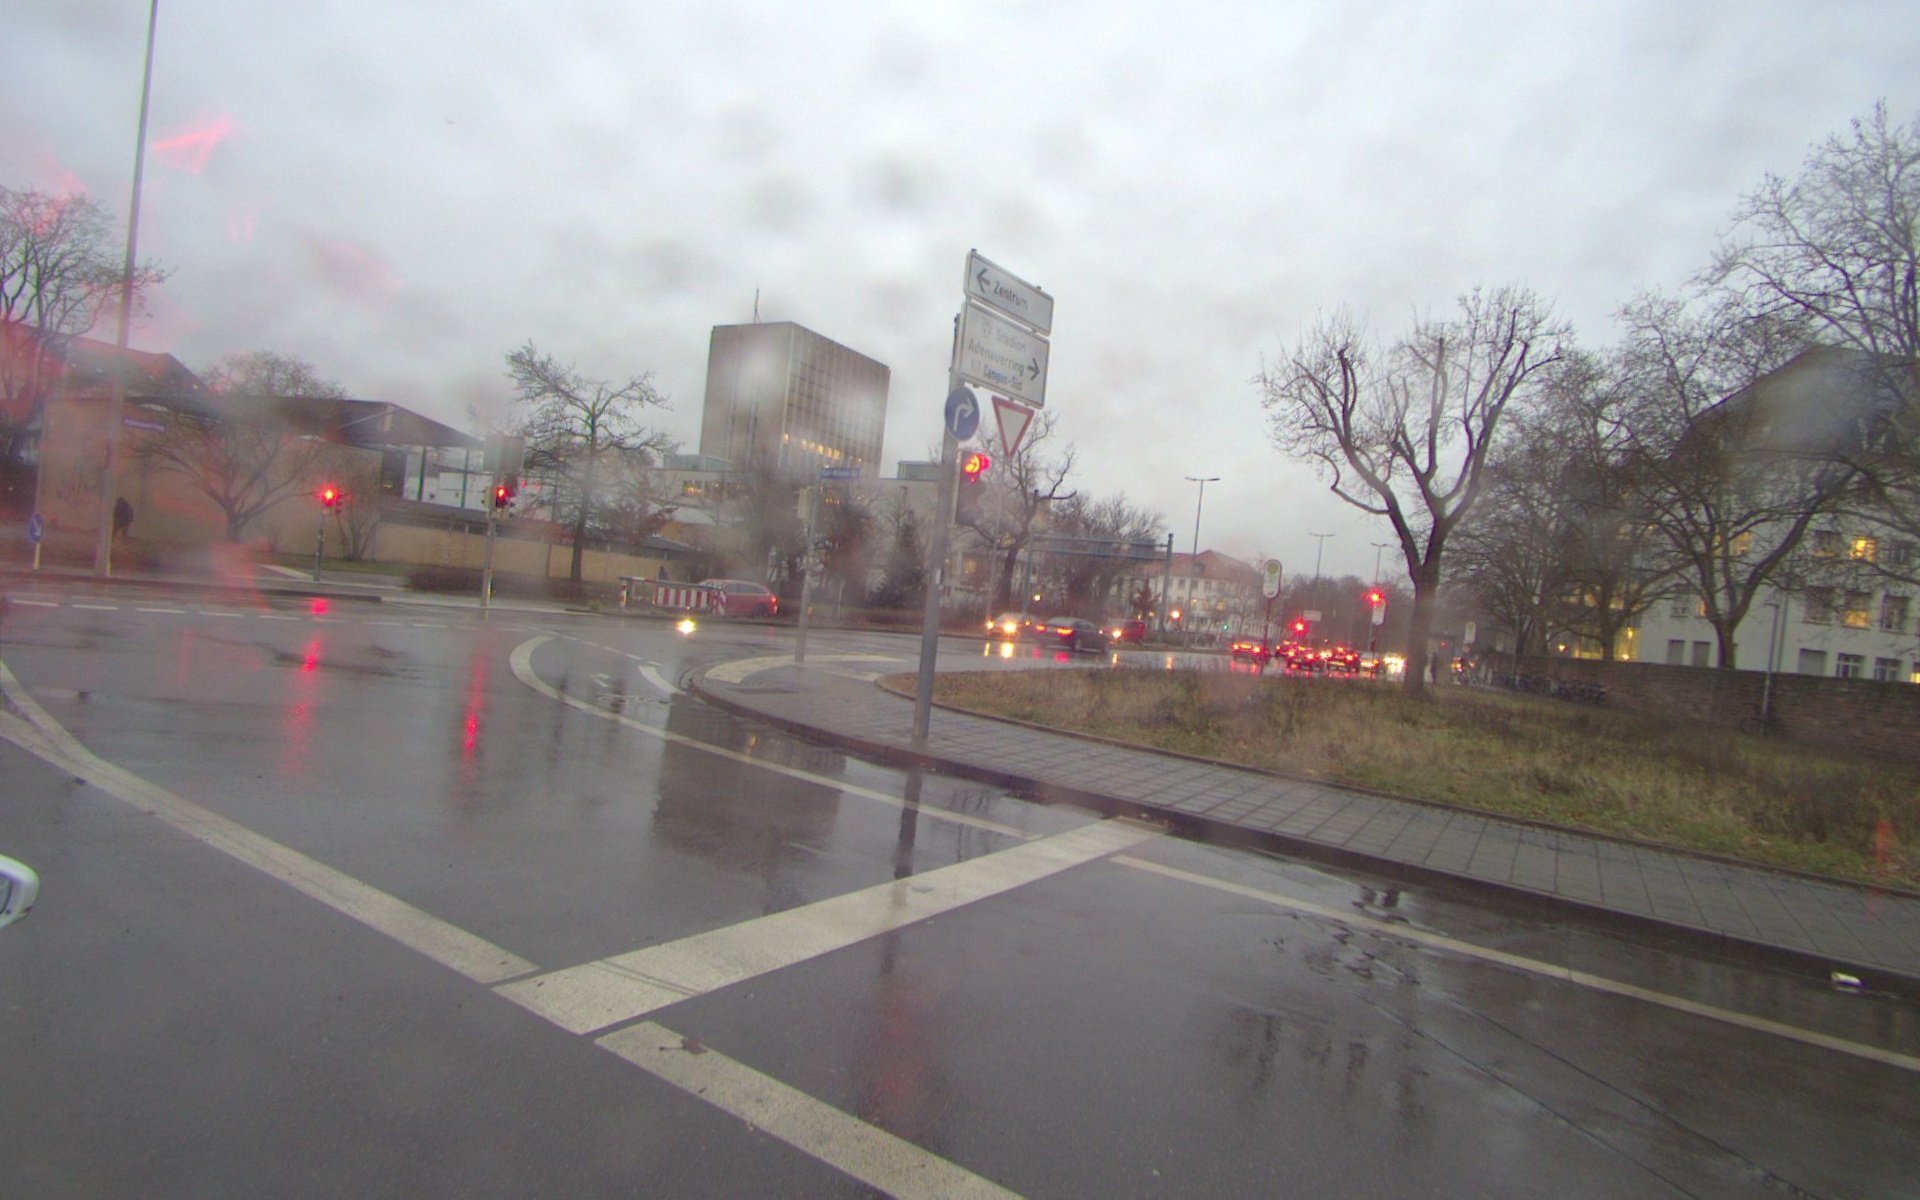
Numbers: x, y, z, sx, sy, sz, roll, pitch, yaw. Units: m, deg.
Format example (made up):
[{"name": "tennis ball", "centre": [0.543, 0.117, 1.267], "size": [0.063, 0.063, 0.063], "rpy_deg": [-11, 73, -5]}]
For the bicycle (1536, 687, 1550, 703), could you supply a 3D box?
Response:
[{"name": "bicycle", "centre": [32.416, 5.290, 55.951], "size": [0.387, 0.795, 1.607], "rpy_deg": [7, -2, 22]}]

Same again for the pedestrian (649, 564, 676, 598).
[{"name": "pedestrian", "centre": [-15.562, -0.981, 52.619], "size": [0.783, 1.624, 0.960], "rpy_deg": [8, 2, 39]}]

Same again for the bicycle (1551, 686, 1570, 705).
[{"name": "bicycle", "centre": [31.360, 4.979, 52.555], "size": [0.387, 0.868, 1.532], "rpy_deg": [7, -2, 15]}]

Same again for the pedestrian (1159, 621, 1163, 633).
[{"name": "pedestrian", "centre": [21.642, 2.904, 108.230], "size": [0.258, 1.364, 0.289], "rpy_deg": [7, 2, 31]}]

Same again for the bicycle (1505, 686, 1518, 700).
[{"name": "bicycle", "centre": [34.853, 5.865, 63.624], "size": [0.387, 0.795, 1.532], "rpy_deg": [7, -2, 20]}]

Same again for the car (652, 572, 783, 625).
[{"name": "car", "centre": [-8.657, -0.029, 36.275], "size": [1.784, 1.496, 4.411], "rpy_deg": [6, 0, 37]}]

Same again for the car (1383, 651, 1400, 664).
[{"name": "car", "centre": [66.980, 8.944, 156.197], "size": [1.965, 1.783, 3.993], "rpy_deg": [7, 1, 27]}]

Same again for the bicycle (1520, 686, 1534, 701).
[{"name": "bicycle", "centre": [33.326, 5.486, 59.143], "size": [0.387, 0.795, 1.532], "rpy_deg": [7, -2, 20]}]

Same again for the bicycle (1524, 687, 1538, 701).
[{"name": "bicycle", "centre": [32.844, 5.403, 57.864], "size": [0.387, 0.795, 1.532], "rpy_deg": [7, -2, 19]}]

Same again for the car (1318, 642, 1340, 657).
[{"name": "car", "centre": [49.345, 6.619, 134.368], "size": [1.966, 1.783, 3.992], "rpy_deg": [7, 1, 29]}]

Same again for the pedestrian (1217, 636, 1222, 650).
[{"name": "pedestrian", "centre": [32.519, 5.398, 126.132], "size": [0.404, 1.713, 0.427], "rpy_deg": [7, 2, 28]}]

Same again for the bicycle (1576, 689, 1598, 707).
[{"name": "bicycle", "centre": [30.552, 4.769, 48.998], "size": [0.387, 0.795, 1.533], "rpy_deg": [7, -2, 14]}]

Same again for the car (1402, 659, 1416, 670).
[{"name": "car", "centre": [81.666, 11.703, 182.924], "size": [1.834, 1.783, 3.993], "rpy_deg": [7, 1, 27]}]

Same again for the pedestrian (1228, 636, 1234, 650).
[{"name": "pedestrian", "centre": [33.822, 5.363, 125.611], "size": [0.404, 1.713, 0.427], "rpy_deg": [7, 2, 28]}]

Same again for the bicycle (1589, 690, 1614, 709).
[{"name": "bicycle", "centre": [30.278, 4.672, 47.474], "size": [0.352, 0.795, 1.415], "rpy_deg": [7, -2, 8]}]

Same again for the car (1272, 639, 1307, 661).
[{"name": "car", "centre": [28.145, 4.261, 85.895], "size": [1.811, 1.602, 4.127], "rpy_deg": [6, 0, 31]}]

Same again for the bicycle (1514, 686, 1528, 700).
[{"name": "bicycle", "centre": [33.832, 5.613, 60.662], "size": [0.387, 0.795, 1.532], "rpy_deg": [7, -2, 20]}]

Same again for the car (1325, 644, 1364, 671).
[{"name": "car", "centre": [29.579, 4.434, 77.270], "size": [1.812, 1.710, 4.312], "rpy_deg": [6, -1, 33]}]

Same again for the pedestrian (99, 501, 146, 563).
[{"name": "pedestrian", "centre": [-30.706, -2.481, 36.892], "size": [0.879, 2.141, 0.885], "rpy_deg": [7, 2, 22]}]

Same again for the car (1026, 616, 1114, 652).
[{"name": "car", "centre": [5.131, 1.595, 46.357], "size": [1.908, 1.318, 4.684], "rpy_deg": [6, 0, 35]}]

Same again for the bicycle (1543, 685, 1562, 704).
[{"name": "bicycle", "centre": [31.845, 5.074, 54.085], "size": [0.387, 0.927, 1.532], "rpy_deg": [7, -2, 15]}]

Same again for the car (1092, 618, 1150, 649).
[{"name": "car", "centre": [12.050, 2.504, 74.926], "size": [2.016, 1.903, 5.320], "rpy_deg": [6, 0, 35]}]

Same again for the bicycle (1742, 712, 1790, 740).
[{"name": "bicycle", "centre": [28.206, 4.400, 35.224], "size": [0.387, 0.834, 1.386], "rpy_deg": [7, -2, -4]}]

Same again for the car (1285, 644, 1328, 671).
[{"name": "car", "centre": [23.912, 3.968, 69.379], "size": [1.811, 1.602, 4.126], "rpy_deg": [6, 0, 32]}]

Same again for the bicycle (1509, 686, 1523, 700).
[{"name": "bicycle", "centre": [34.352, 5.741, 62.150], "size": [0.387, 0.795, 1.532], "rpy_deg": [7, -2, 20]}]

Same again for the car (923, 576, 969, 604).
[{"name": "car", "centre": [-1.378, -0.991, 103.236], "size": [2.014, 2.452, 5.326], "rpy_deg": [6, 0, 30]}]

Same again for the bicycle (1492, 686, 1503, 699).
[{"name": "bicycle", "centre": [36.393, 6.245, 68.105], "size": [0.387, 0.795, 1.532], "rpy_deg": [7, -2, 20]}]

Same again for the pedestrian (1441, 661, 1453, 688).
[{"name": "pedestrian", "centre": [37.807, 5.777, 78.054], "size": [0.557, 2.040, 0.595], "rpy_deg": [8, 2, 33]}]

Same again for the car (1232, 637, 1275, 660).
[{"name": "car", "centre": [19.902, 3.310, 68.163], "size": [1.674, 1.318, 3.757], "rpy_deg": [6, 0, 33]}]

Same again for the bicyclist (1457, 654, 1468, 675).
[{"name": "bicyclist", "centre": [41.495, 5.312, 83.100], "size": [0.599, 1.660, 0.453], "rpy_deg": [7, -1, 19]}]

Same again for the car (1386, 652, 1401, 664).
[{"name": "car", "centre": [69.996, 9.333, 162.289], "size": [1.834, 1.783, 3.993], "rpy_deg": [7, 1, 27]}]

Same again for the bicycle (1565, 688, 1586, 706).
[{"name": "bicycle", "centre": [31.041, 4.875, 50.743], "size": [0.343, 0.848, 1.493], "rpy_deg": [7, -2, 13]}]

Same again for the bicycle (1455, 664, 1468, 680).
[{"name": "bicycle", "centre": [41.411, 5.943, 83.085], "size": [0.599, 1.181, 1.682], "rpy_deg": [7, -2, 19]}]

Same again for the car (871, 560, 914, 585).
[{"name": "car", "centre": [-7.087, -2.912, 106.481], "size": [2.014, 2.102, 4.892], "rpy_deg": [6, 0, 30]}]

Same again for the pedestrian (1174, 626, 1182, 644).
[{"name": "pedestrian", "centre": [21.869, 3.543, 100.828], "size": [0.411, 1.725, 0.430], "rpy_deg": [8, 3, 44]}]

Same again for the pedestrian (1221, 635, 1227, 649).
[{"name": "pedestrian", "centre": [32.968, 5.248, 125.666], "size": [0.404, 1.713, 0.561], "rpy_deg": [7, 2, 28]}]

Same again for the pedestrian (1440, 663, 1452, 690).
[{"name": "pedestrian", "centre": [30.154, 4.732, 62.416], "size": [0.462, 1.623, 0.486], "rpy_deg": [7, -1, 25]}]

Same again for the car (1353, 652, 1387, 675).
[{"name": "car", "centre": [34.254, 5.284, 83.989], "size": [1.811, 1.710, 4.311], "rpy_deg": [6, 0, 32]}]

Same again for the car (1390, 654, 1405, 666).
[{"name": "car", "centre": [73.973, 10.167, 170.084], "size": [1.834, 1.783, 3.993], "rpy_deg": [7, 1, 27]}]

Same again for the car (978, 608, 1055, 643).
[{"name": "car", "centre": [3.033, 1.384, 53.163], "size": [1.784, 1.496, 4.411], "rpy_deg": [6, 0, 37]}]
